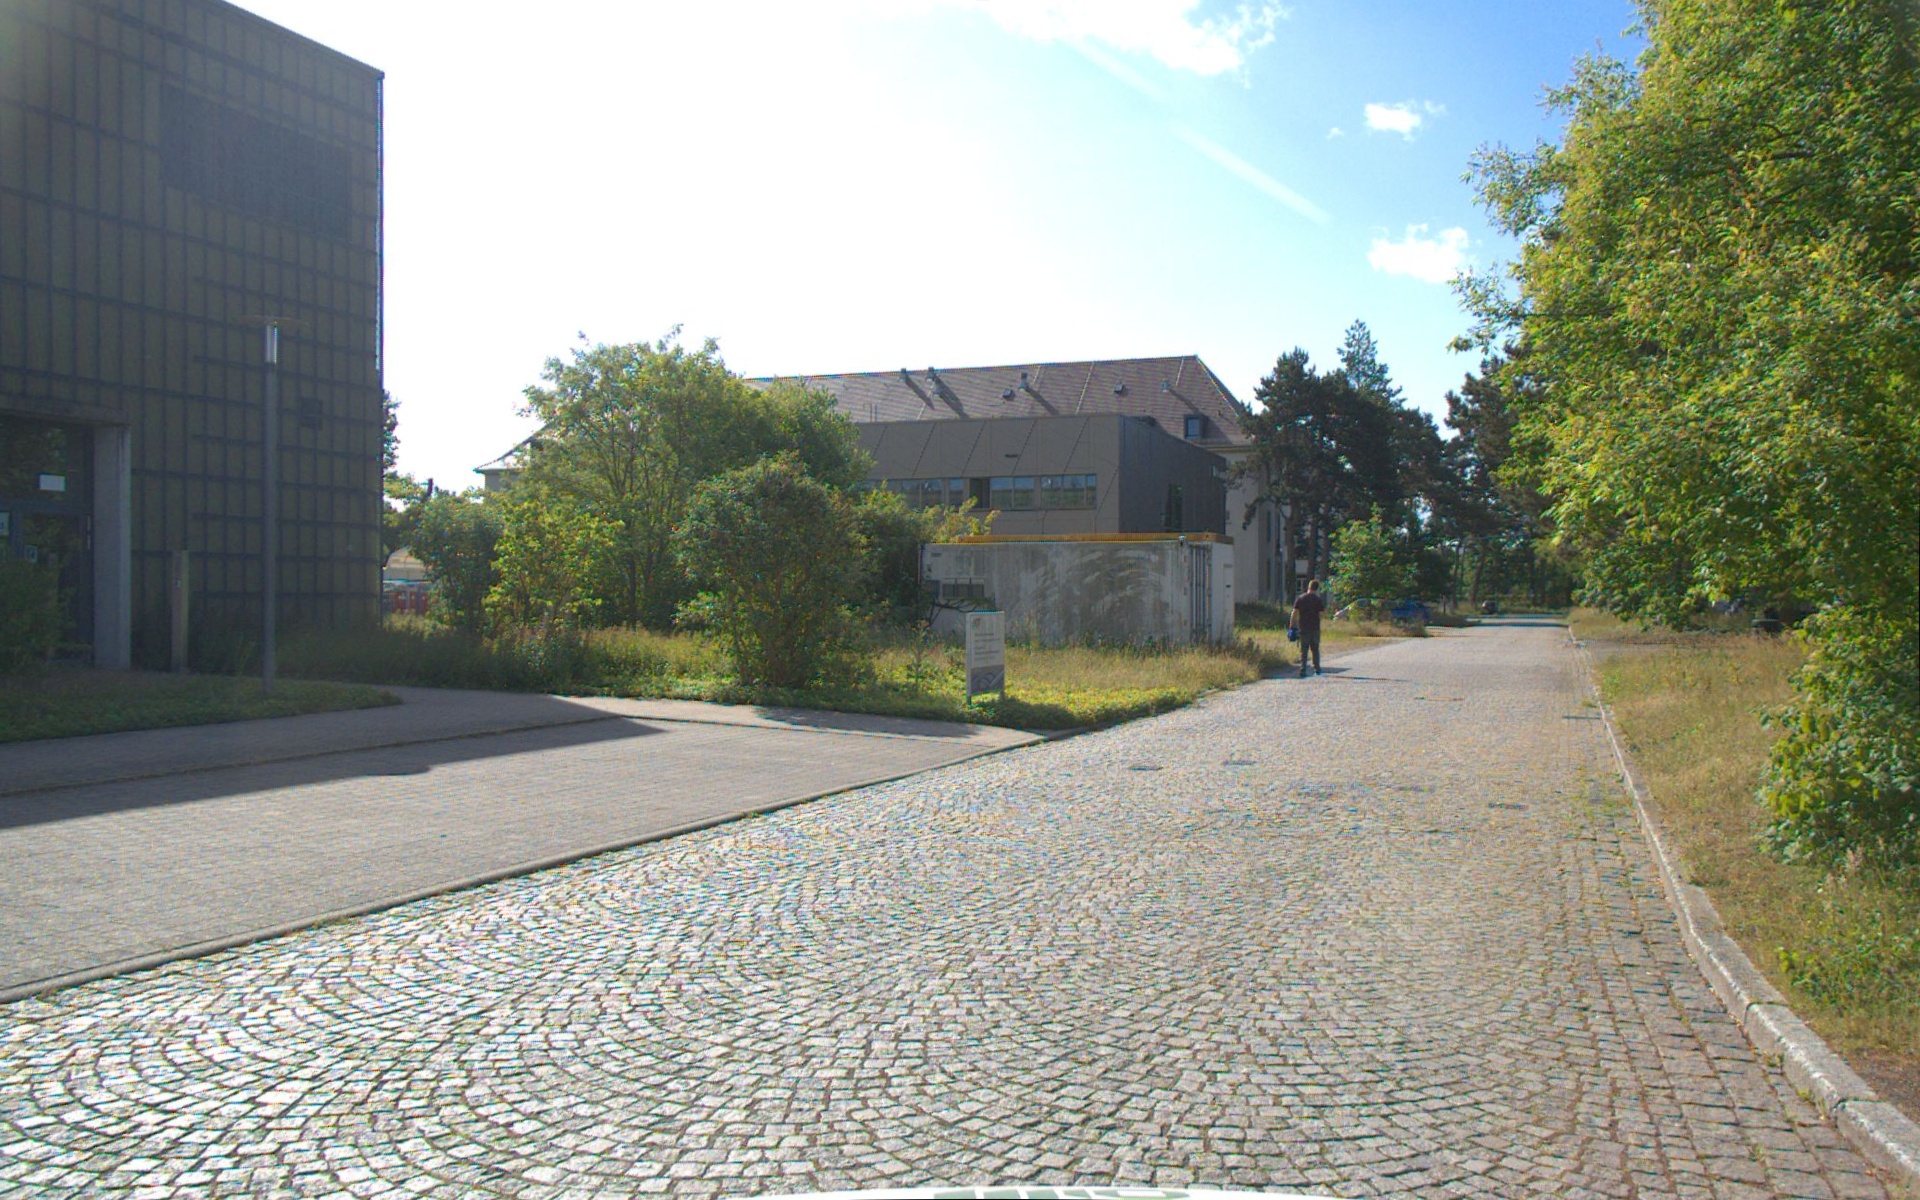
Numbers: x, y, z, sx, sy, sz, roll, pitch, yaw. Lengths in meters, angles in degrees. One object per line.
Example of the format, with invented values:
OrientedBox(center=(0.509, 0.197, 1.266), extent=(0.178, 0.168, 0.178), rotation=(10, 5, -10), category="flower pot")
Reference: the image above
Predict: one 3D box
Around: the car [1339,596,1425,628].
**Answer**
OrientedBox(center=(19.462, 0.551, 76.267), extent=(3.753, 1.466, 1.584), rotation=(0, 0, 18), category="car")

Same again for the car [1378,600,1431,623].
OrientedBox(center=(24.732, 0.629, 92.067), extent=(2.792, 1.227, 1.375), rotation=(0, 0, 12), category="car")

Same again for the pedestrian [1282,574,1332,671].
OrientedBox(center=(6.672, 0.418, 31.748), extent=(0.778, 1.812, 1.069), rotation=(2, 0, 19), category="pedestrian")

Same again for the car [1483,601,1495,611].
OrientedBox(center=(61.288, 0.714, 191.560), extent=(1.340, 1.118, 2.864), rotation=(0, 0, 17), category="car")

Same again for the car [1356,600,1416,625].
OrientedBox(center=(21.424, 0.618, 83.258), extent=(2.840, 1.281, 1.289), rotation=(0, 0, 12), category="car")
